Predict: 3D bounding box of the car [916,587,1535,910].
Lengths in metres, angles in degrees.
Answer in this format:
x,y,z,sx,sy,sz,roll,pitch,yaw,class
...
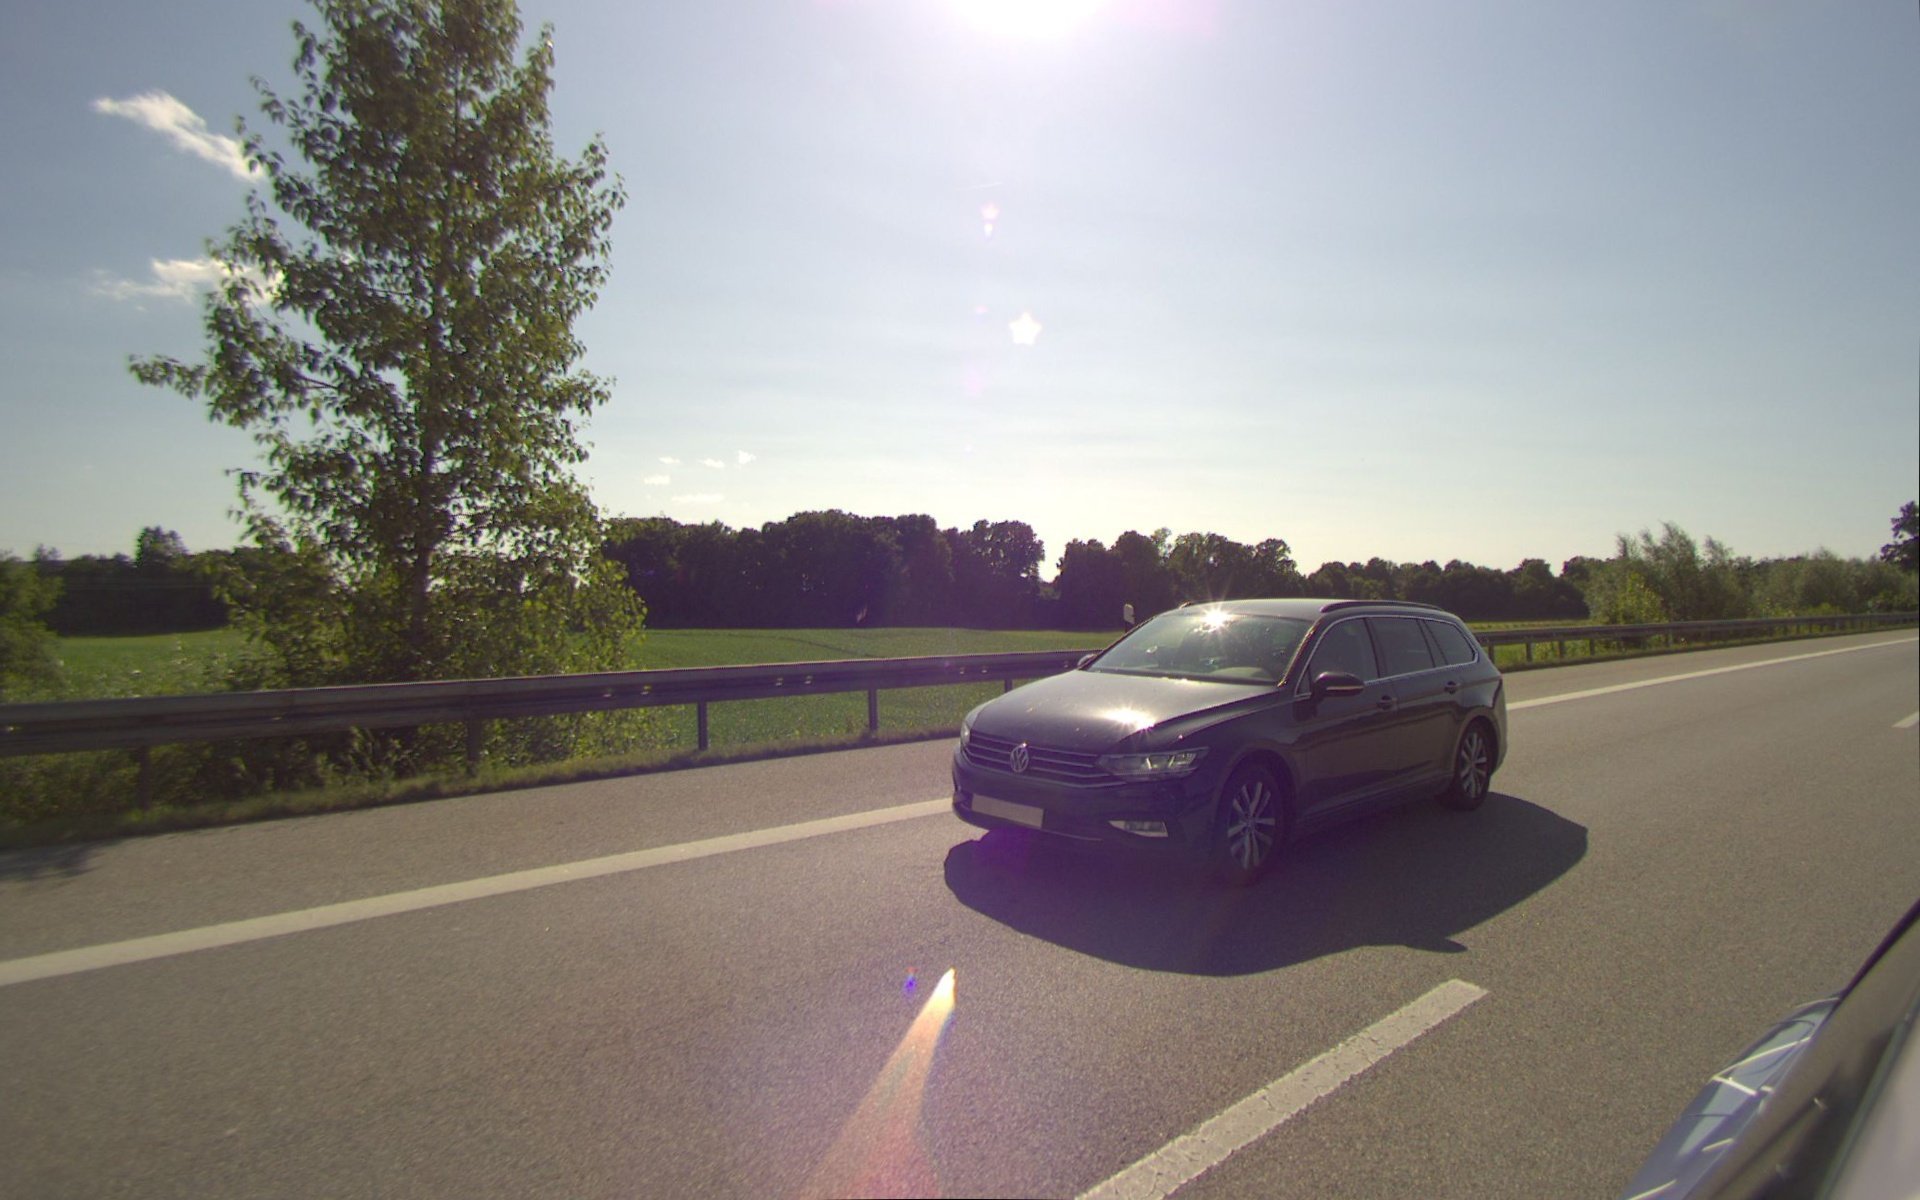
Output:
x,y,z,sx,sy,sz,roll,pitch,yaw,class
1.946,0.635,6.554,4.336,1.417,1.722,-1,1,-40,car
